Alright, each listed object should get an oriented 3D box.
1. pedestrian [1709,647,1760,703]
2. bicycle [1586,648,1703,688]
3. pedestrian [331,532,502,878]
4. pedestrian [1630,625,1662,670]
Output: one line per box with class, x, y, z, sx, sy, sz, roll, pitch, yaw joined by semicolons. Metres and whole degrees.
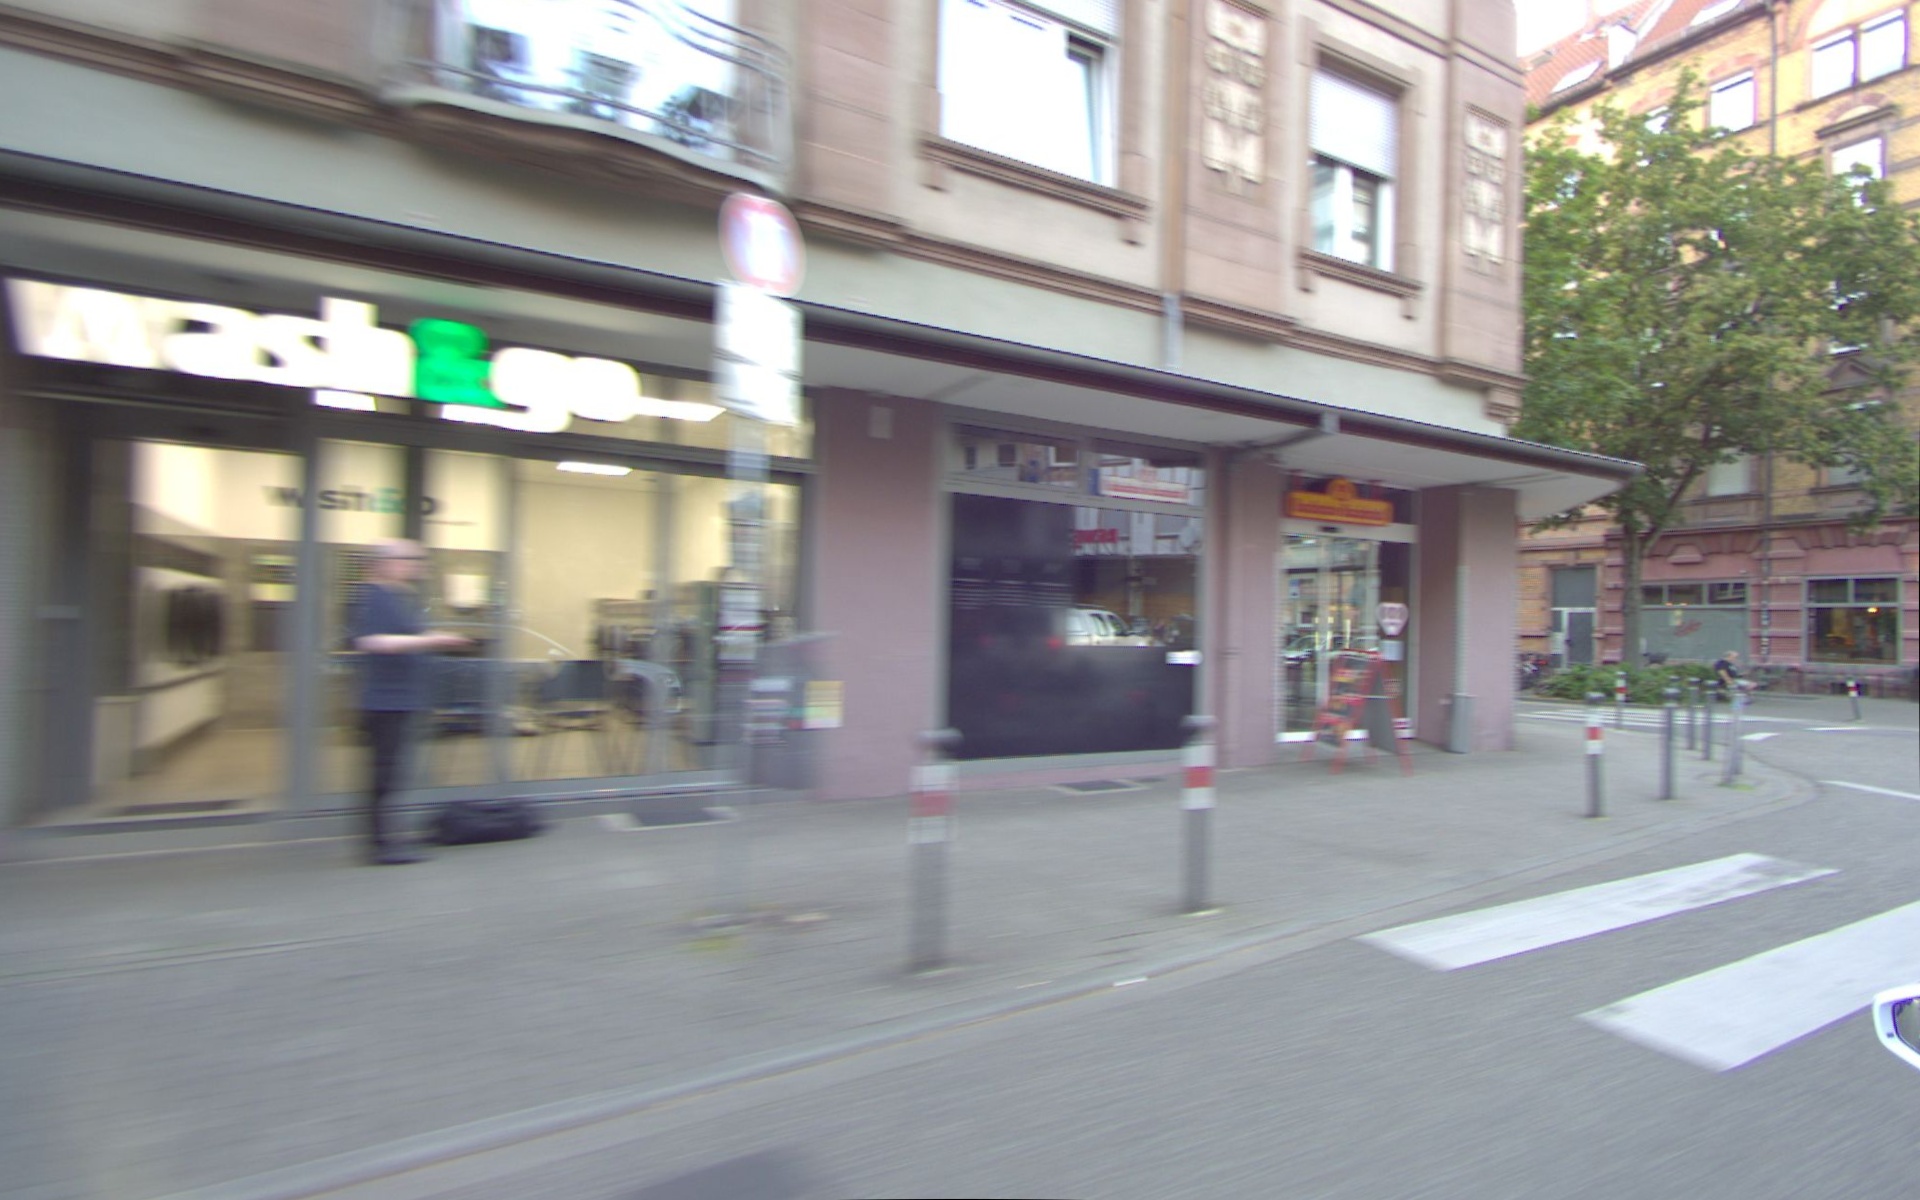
pedestrian;18.642;1.809;24.188;0.660;1.279;0.750;2;0;-30
bicycle;20.271;2.008;29.852;0.618;0.971;2.882;2;0;-30
pedestrian;-2.938;0.524;5.428;0.728;1.700;0.705;2;0;-32
pedestrian;19.815;1.367;29.018;0.564;1.279;0.456;2;0;-5
